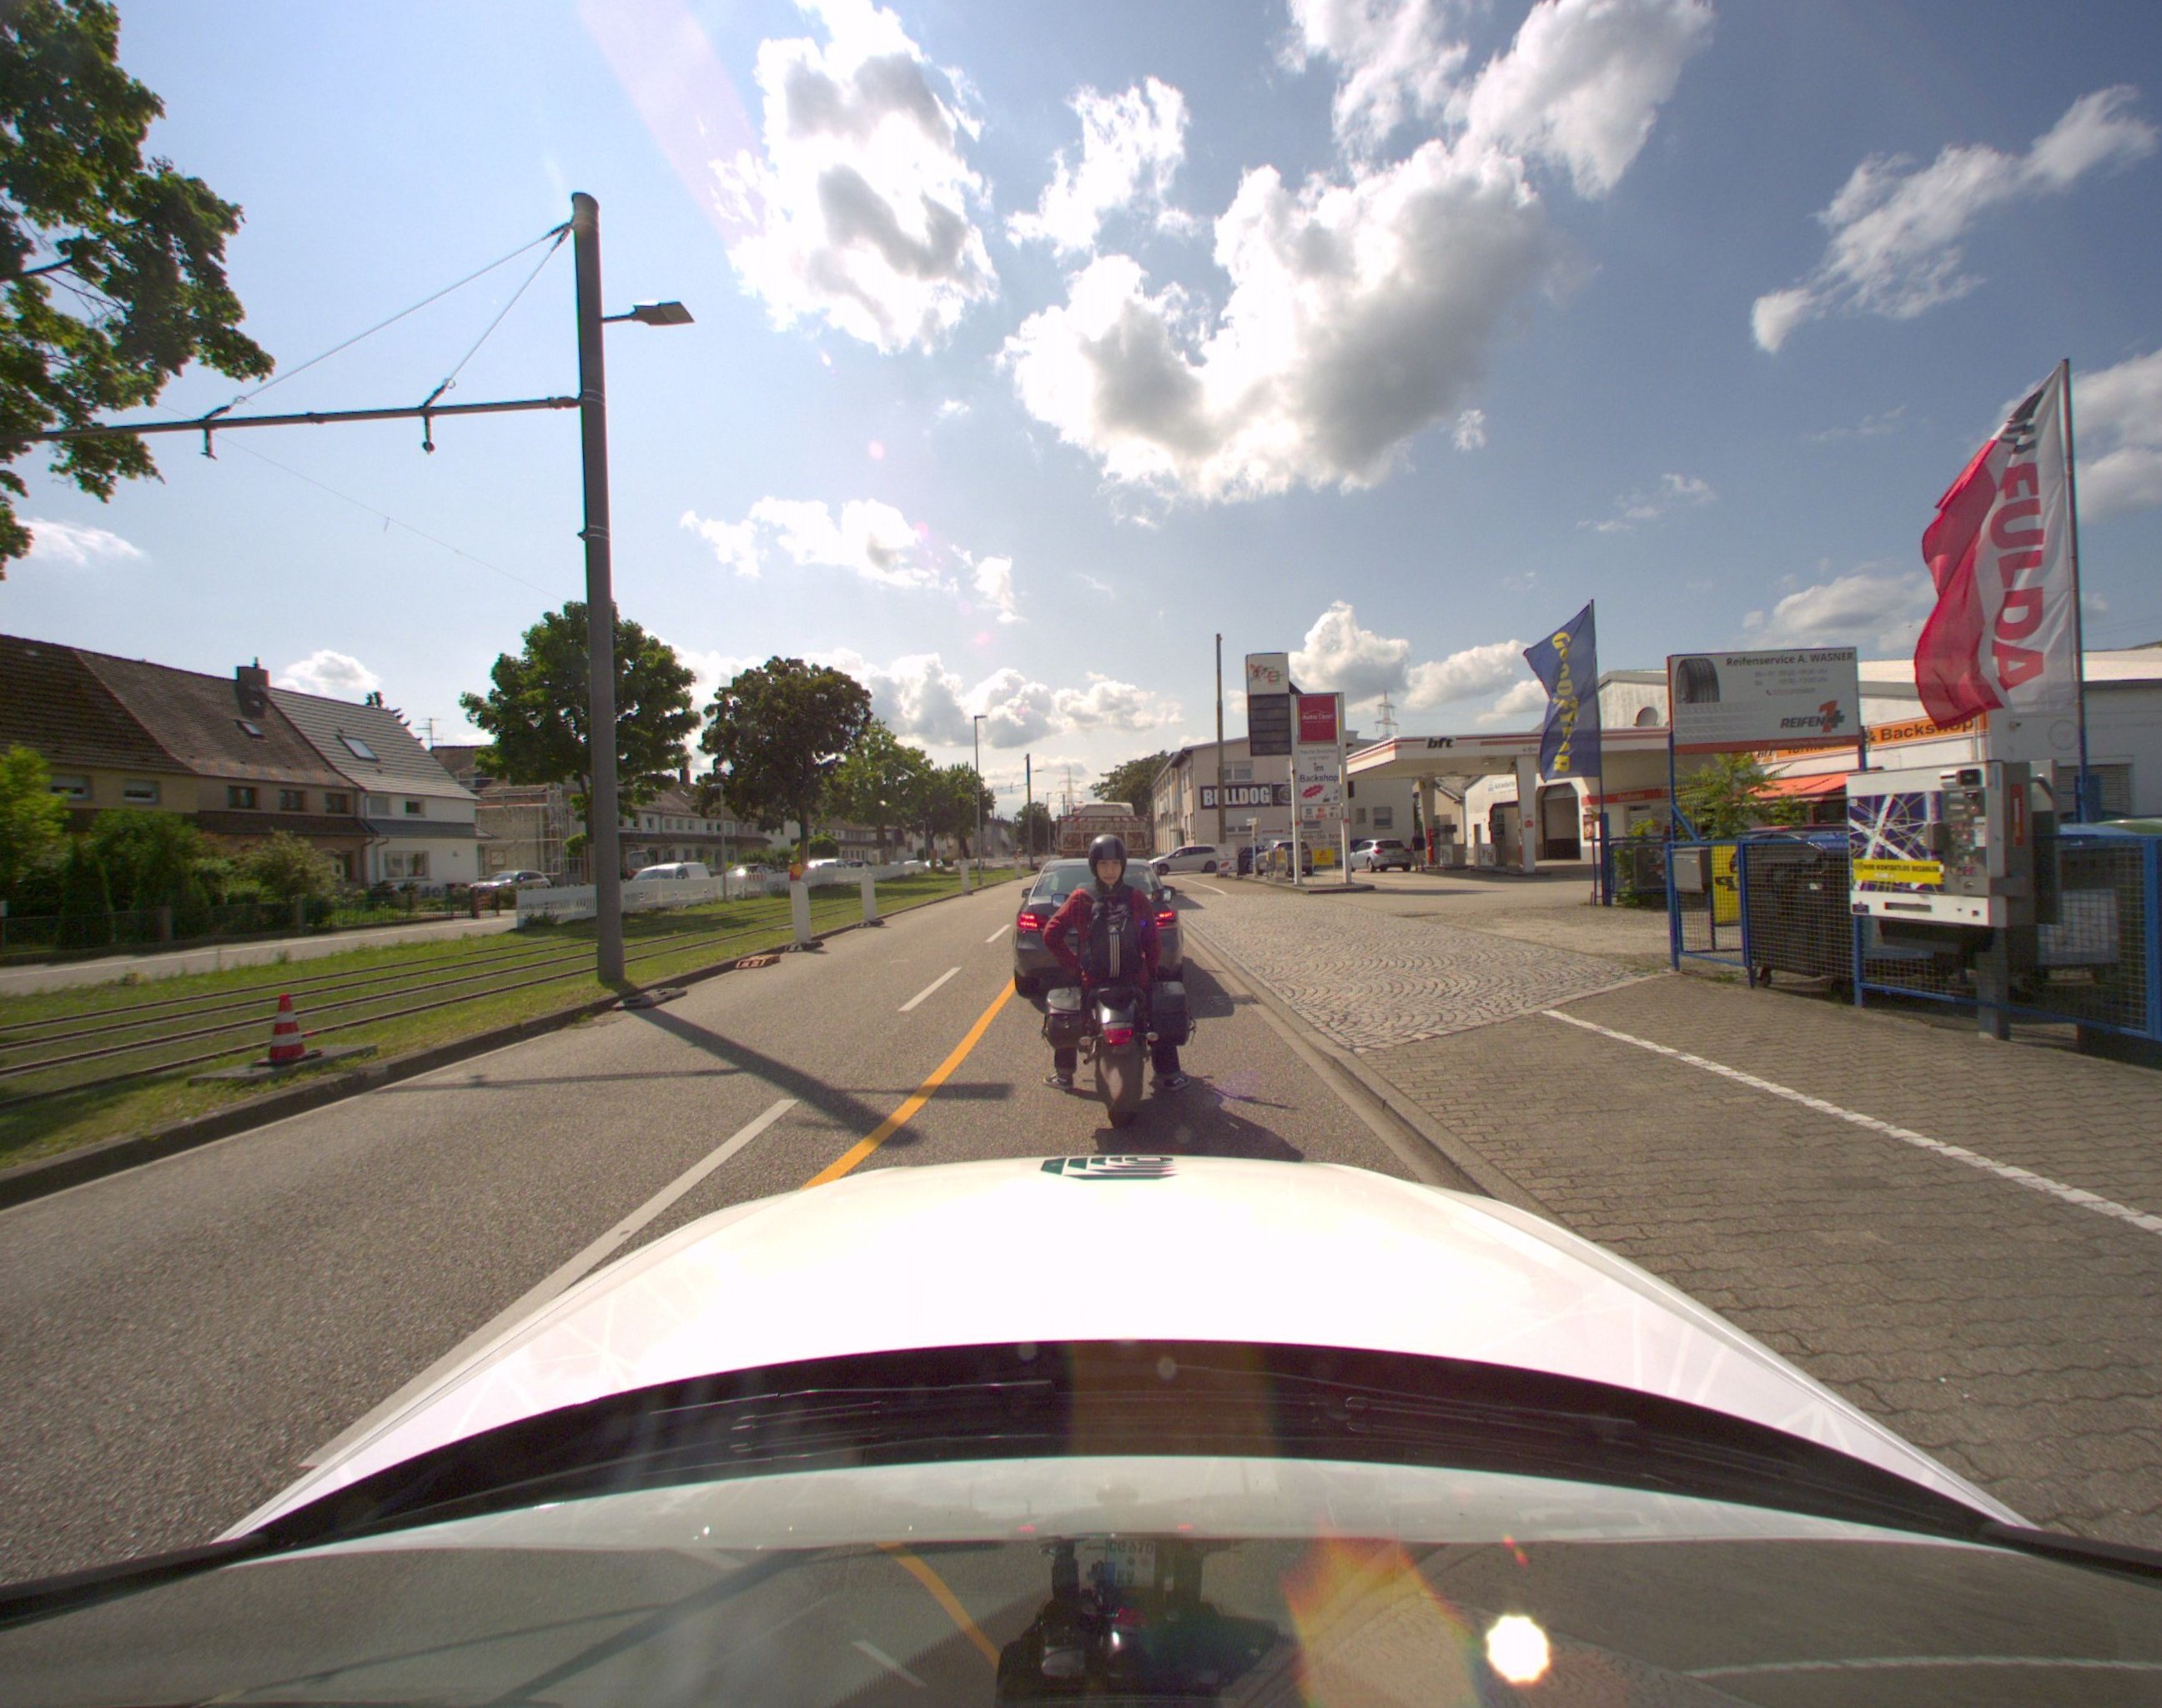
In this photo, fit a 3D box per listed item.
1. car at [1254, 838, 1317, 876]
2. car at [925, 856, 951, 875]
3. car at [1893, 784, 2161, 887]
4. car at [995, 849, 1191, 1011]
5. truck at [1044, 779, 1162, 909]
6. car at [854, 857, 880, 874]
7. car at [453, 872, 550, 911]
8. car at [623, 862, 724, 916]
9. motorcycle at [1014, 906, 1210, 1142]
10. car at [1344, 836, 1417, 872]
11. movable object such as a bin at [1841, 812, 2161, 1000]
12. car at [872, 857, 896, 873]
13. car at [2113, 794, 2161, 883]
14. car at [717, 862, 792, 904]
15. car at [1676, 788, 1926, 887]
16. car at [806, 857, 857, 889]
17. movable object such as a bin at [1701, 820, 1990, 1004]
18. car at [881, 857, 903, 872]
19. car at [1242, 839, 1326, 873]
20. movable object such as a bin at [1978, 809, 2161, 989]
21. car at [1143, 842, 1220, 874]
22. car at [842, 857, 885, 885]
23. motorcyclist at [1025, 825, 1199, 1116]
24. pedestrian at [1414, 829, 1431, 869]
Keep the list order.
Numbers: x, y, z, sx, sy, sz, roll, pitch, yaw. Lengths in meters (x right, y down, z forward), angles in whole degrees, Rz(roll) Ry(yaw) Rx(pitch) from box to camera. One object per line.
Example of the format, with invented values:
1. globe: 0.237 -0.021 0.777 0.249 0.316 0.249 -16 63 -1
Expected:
1. car: 9.090 0.122 36.576 1.826 1.536 4.009 -3 0 1
2. car: -14.054 1.148 80.340 1.692 1.739 3.862 -2 0 2
3. car: 21.249 -0.400 18.269 3.972 2.013 2.001 -2 0 1
4. car: 0.148 0.721 9.860 1.826 1.479 4.009 -3 0 1
5. truck: 0.642 -0.281 25.604 2.960 3.304 8.407 -2 0 1
6. car: -24.462 1.304 93.140 1.692 1.739 4.064 -2 0 2
7. car: -27.479 1.732 38.794 1.692 1.593 3.862 -2 0 2
8. car: -15.418 1.278 31.057 1.692 1.817 3.862 -2 0 2
9. motorcycle: 0.195 0.932 5.313 0.972 1.013 2.433 -1 0 2
10. car: 13.539 -0.022 37.069 1.826 1.479 4.009 -3 0 1
11. movable object such as a bin: 8.103 0.416 7.280 1.222 1.454 1.455 -2 0 0
12. car: -24.046 1.338 99.343 1.692 1.739 4.064 -2 0 2
13. car: 26.352 -0.433 18.185 3.972 2.013 2.001 -2 0 1
14. car: -15.325 1.325 38.488 1.692 1.739 4.056 -2 0 2
15. car: 16.602 -0.371 18.961 3.972 2.013 2.001 -2 0 1
16. car: -15.049 1.111 49.391 1.692 1.739 3.862 -2 0 2
17. movable object such as a bin: 6.824 0.470 7.404 1.222 1.454 1.455 -2 0 0
18. car: -24.376 1.347 105.366 1.692 1.739 4.064 -2 0 2
19. car: 10.819 0.087 43.662 4.089 1.624 1.687 -2 0 2
20. movable object such as a bin: 9.449 0.335 7.190 1.425 1.454 1.455 -2 0 0
21. car: 5.766 0.229 47.049 4.100 1.624 1.682 -3 0 -7
22. car: -14.867 1.141 55.759 1.692 1.739 3.862 -2 0 2
23. motorcyclist: 0.194 0.653 5.196 0.966 1.633 1.215 -1 0 1
24. pedestrian: 14.842 -0.209 35.388 0.628 1.683 0.626 -2 0 23
